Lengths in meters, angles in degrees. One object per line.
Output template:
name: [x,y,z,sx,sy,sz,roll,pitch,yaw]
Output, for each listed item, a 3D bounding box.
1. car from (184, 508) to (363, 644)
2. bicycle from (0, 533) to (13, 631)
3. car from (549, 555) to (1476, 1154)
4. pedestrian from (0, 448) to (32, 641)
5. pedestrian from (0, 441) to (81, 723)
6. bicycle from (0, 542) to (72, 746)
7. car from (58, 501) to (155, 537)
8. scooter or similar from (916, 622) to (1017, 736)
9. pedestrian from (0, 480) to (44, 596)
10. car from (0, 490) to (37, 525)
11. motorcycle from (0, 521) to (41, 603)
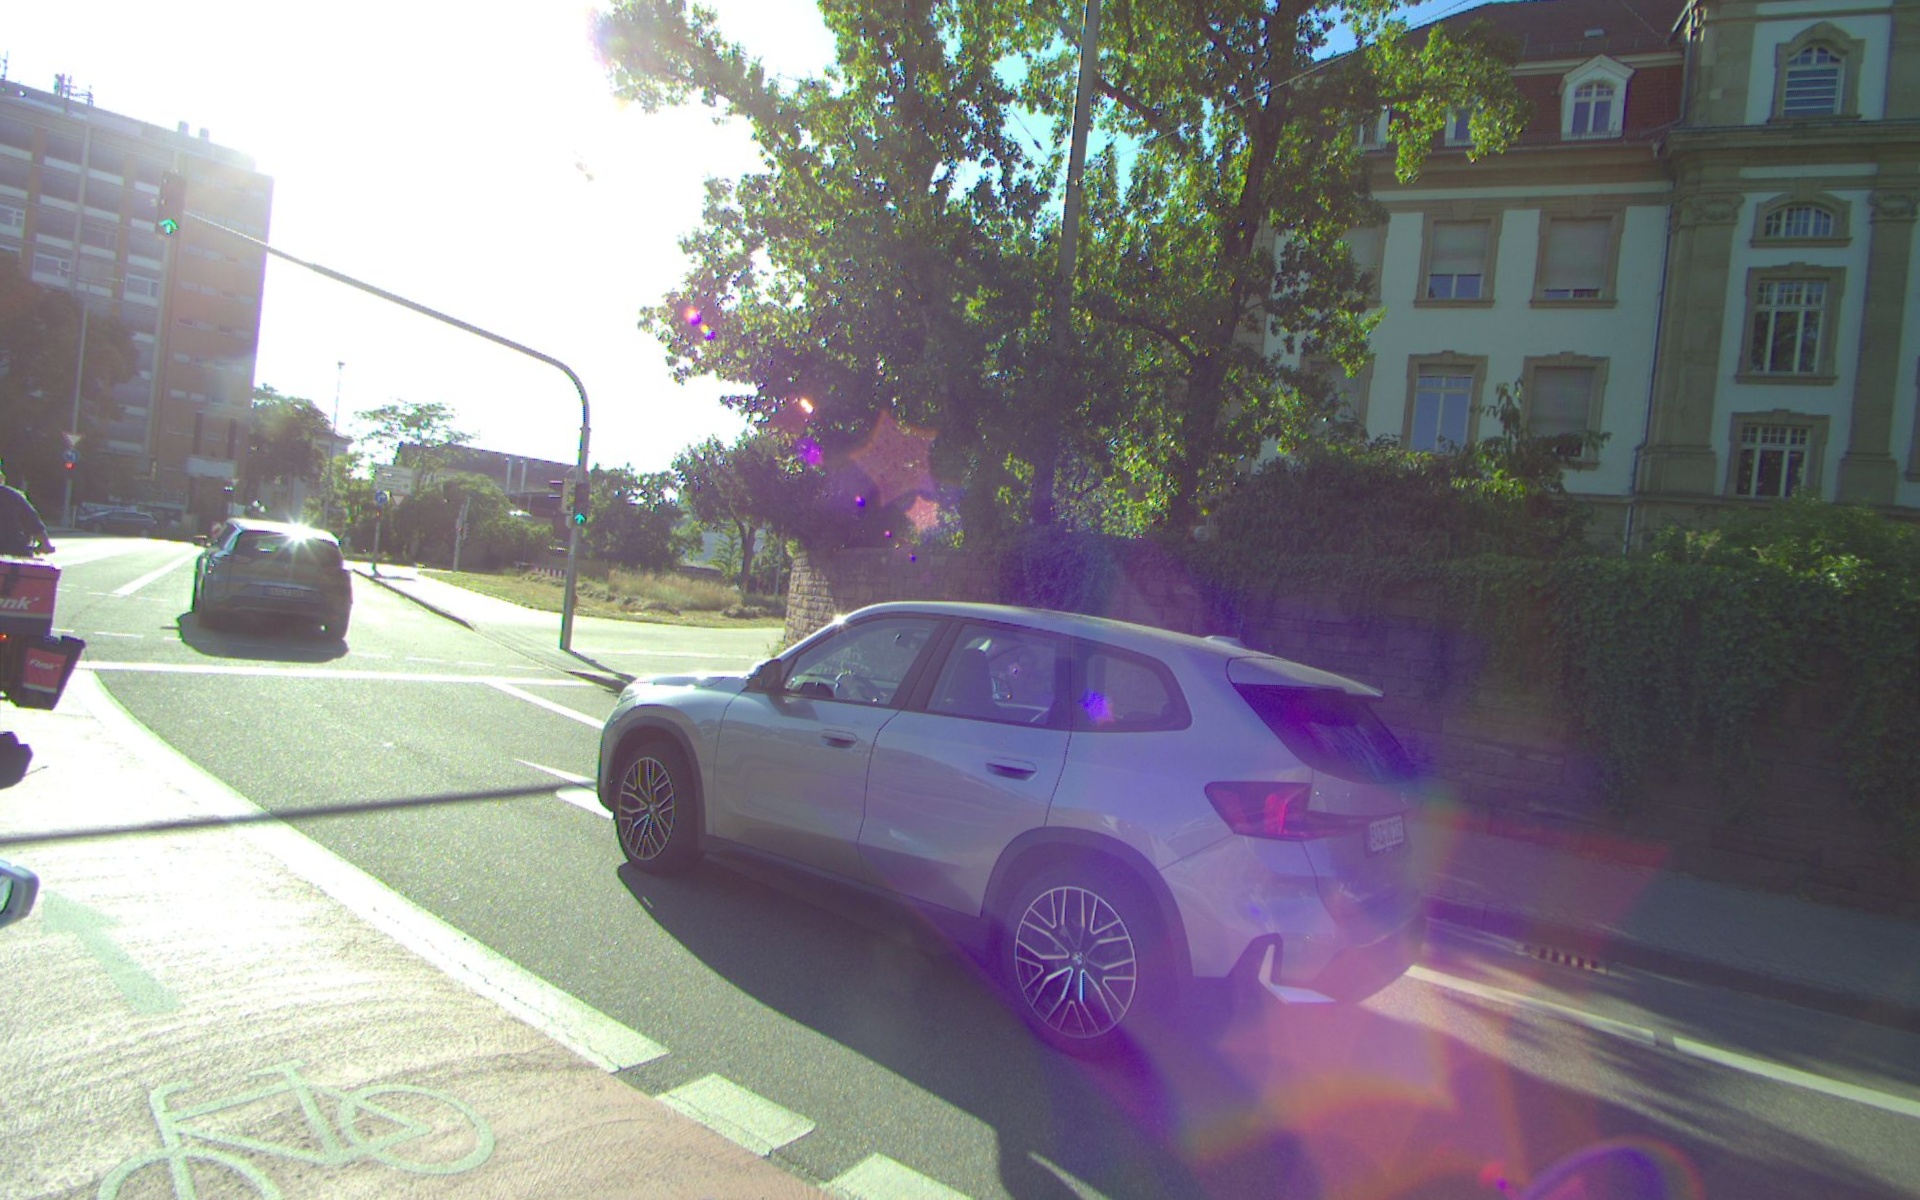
car: [-11.128,-0.411,16.173,1.824,1.708,4.321,9,-3,-40]
bicycle: [-9.910,-0.117,10.016,0.562,1.164,1.925,8,-2,-44]
car: [0.025,0.819,5.087,4.263,1.612,1.788,6,-2,36]
pedestrian: [-9.920,-0.598,10.118,0.657,1.890,0.861,8,-2,-44]
pedestrian: [-6.877,-0.157,7.018,0.942,1.890,0.806,6,-2,39]
bicycle: [-6.658,0.206,6.829,2.340,1.185,0.554,5,-2,41]
car: [-48.466,-4.583,57.212,1.770,1.549,4.000,6,0,6]
scooter or similar: [0.058,0.988,12.920,0.569,1.285,1.414,6,0,-28]
pedestrian: [-14.161,-0.931,14.978,0.585,1.617,1.013,8,-2,-41]
car: [-46.425,-4.515,48.316,1.781,1.549,3.977,5,0,-24]
motorcycle: [-14.267,-0.604,15.047,0.611,1.110,2.333,8,-2,-41]
